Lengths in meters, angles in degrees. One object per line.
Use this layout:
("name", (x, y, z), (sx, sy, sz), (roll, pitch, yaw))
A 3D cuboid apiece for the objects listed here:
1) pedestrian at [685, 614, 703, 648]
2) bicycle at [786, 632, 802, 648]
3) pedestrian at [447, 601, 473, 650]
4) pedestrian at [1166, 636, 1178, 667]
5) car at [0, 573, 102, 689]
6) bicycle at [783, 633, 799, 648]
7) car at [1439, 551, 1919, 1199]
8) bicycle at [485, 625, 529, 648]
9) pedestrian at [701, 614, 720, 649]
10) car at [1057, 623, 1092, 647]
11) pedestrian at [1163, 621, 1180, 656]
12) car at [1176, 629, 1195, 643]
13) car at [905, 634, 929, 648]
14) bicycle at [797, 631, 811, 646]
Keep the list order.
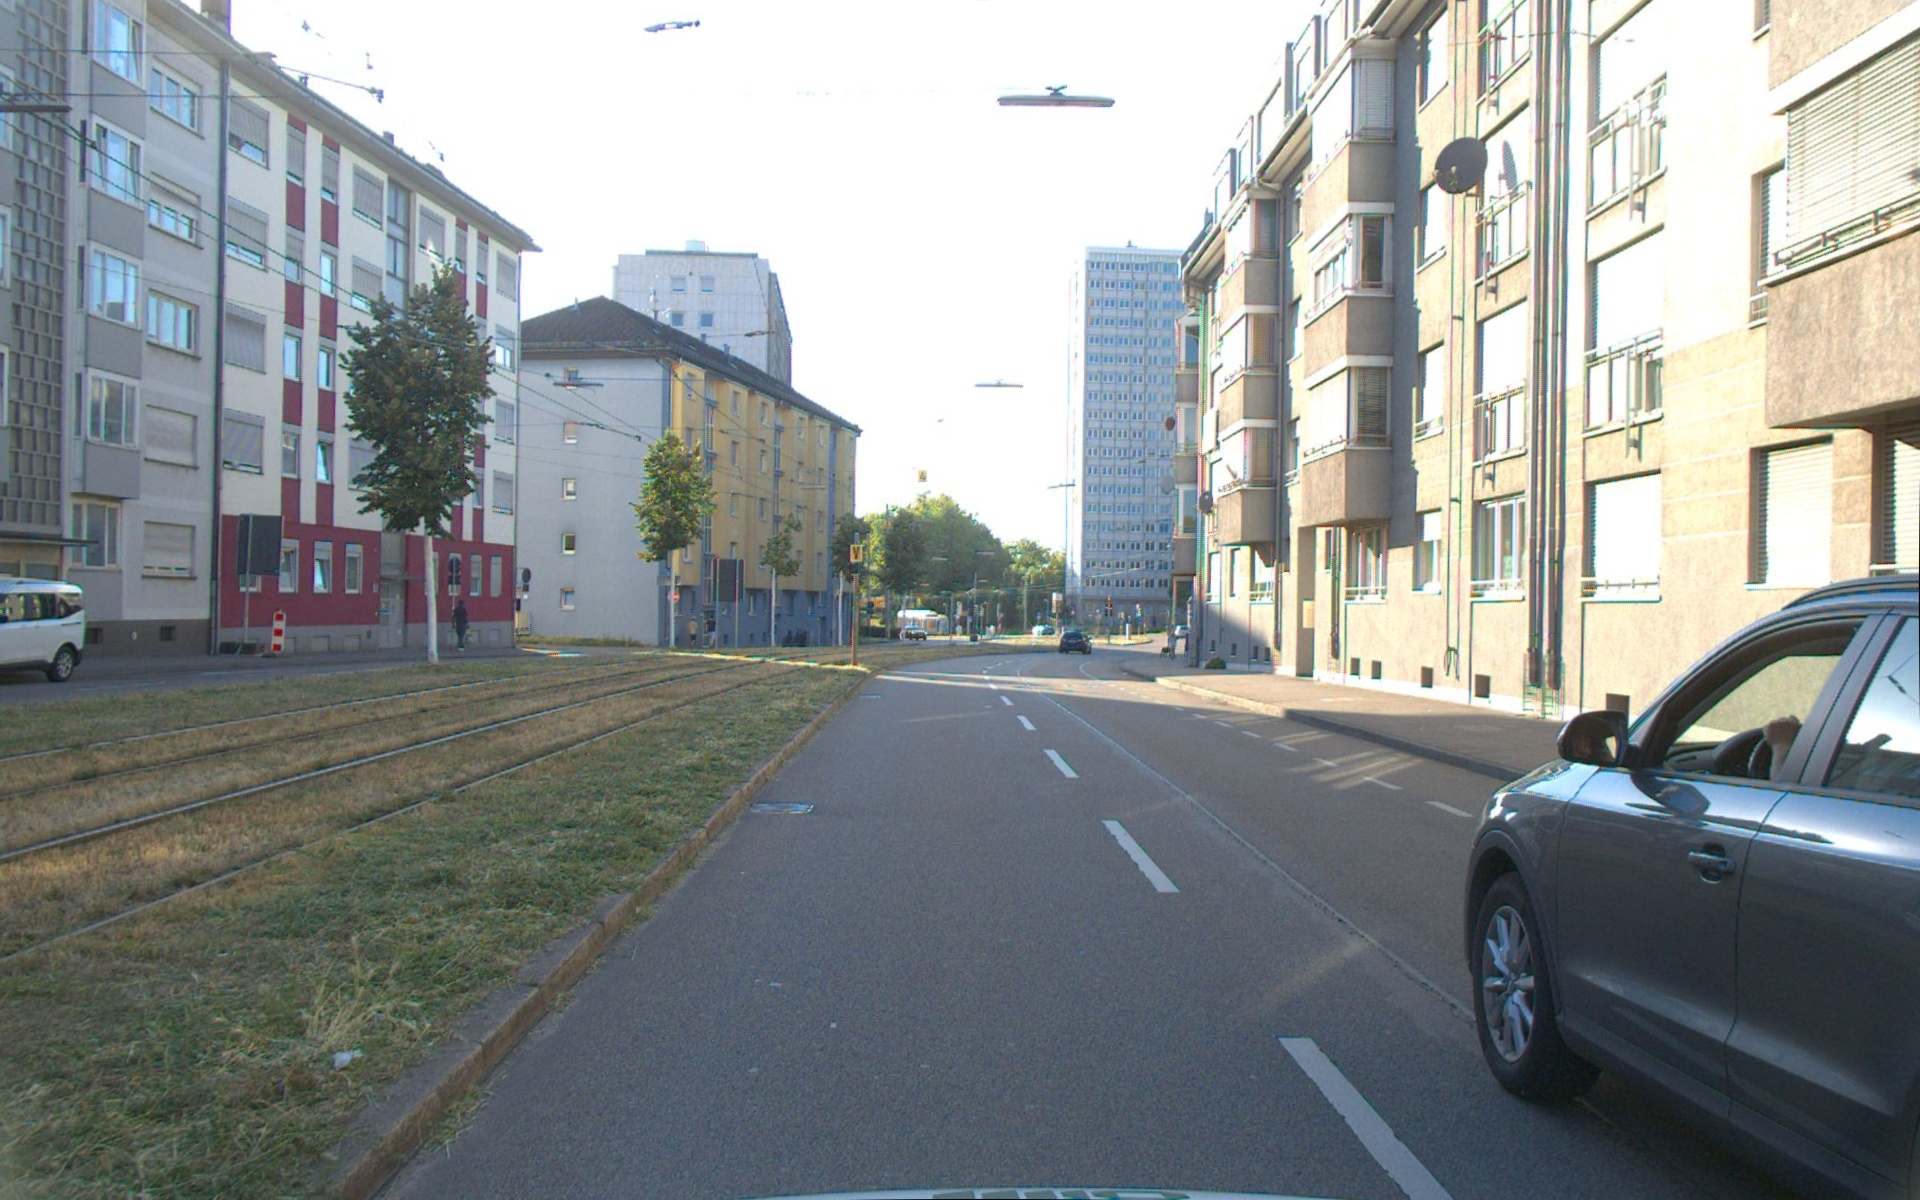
("pedestrian", (-13.990, 1.620, 86.954), (0.603, 1.724, 0.707), (5, 0, 9))
("bicycle", (-10.696, 2.575, 106.759), (0.418, 0.941, 1.913), (4, 0, 11))
("pedestrian", (-17.723, 0.898, 58.628), (0.600, 1.719, 0.792), (0, -1, 4))
("pedestrian", (9.462, 2.294, 73.714), (0.503, 1.368, 0.609), (-1, -2, 6))
("car", (-17.469, 0.515, 29.393), (1.829, 1.860, 4.422), (7, 0, 2))
("bicycle", (-10.780, 2.575, 105.480), (0.418, 0.941, 1.913), (4, 0, 11))
("car", (2.598, 0.725, 3.782), (1.731, 1.615, 4.066), (0, 0, -2))
("bicycle", (-21.572, 1.737, 78.809), (1.918, 1.094, 0.602), (1, -1, -8))
("pedestrian", (-13.140, 1.649, 87.077), (0.580, 1.803, 0.886), (5, 0, 9))
("car", (7.363, 2.223, 105.950), (1.734, 1.447, 3.859), (0, -1, 11))
("pedestrian", (11.103, 2.031, 86.863), (0.812, 1.803, 0.996), (0, -1, 9))
("car", (24.739, 3.934, 181.575), (1.951, 1.557, 4.003), (0, -1, 9))
("car", (-4.572, 4.354, 175.647), (1.755, 1.495, 4.799), (-2, -2, 8))
("bicycle", (-10.276, 2.562, 109.168), (0.418, 0.977, 1.913), (0, -1, 11))
